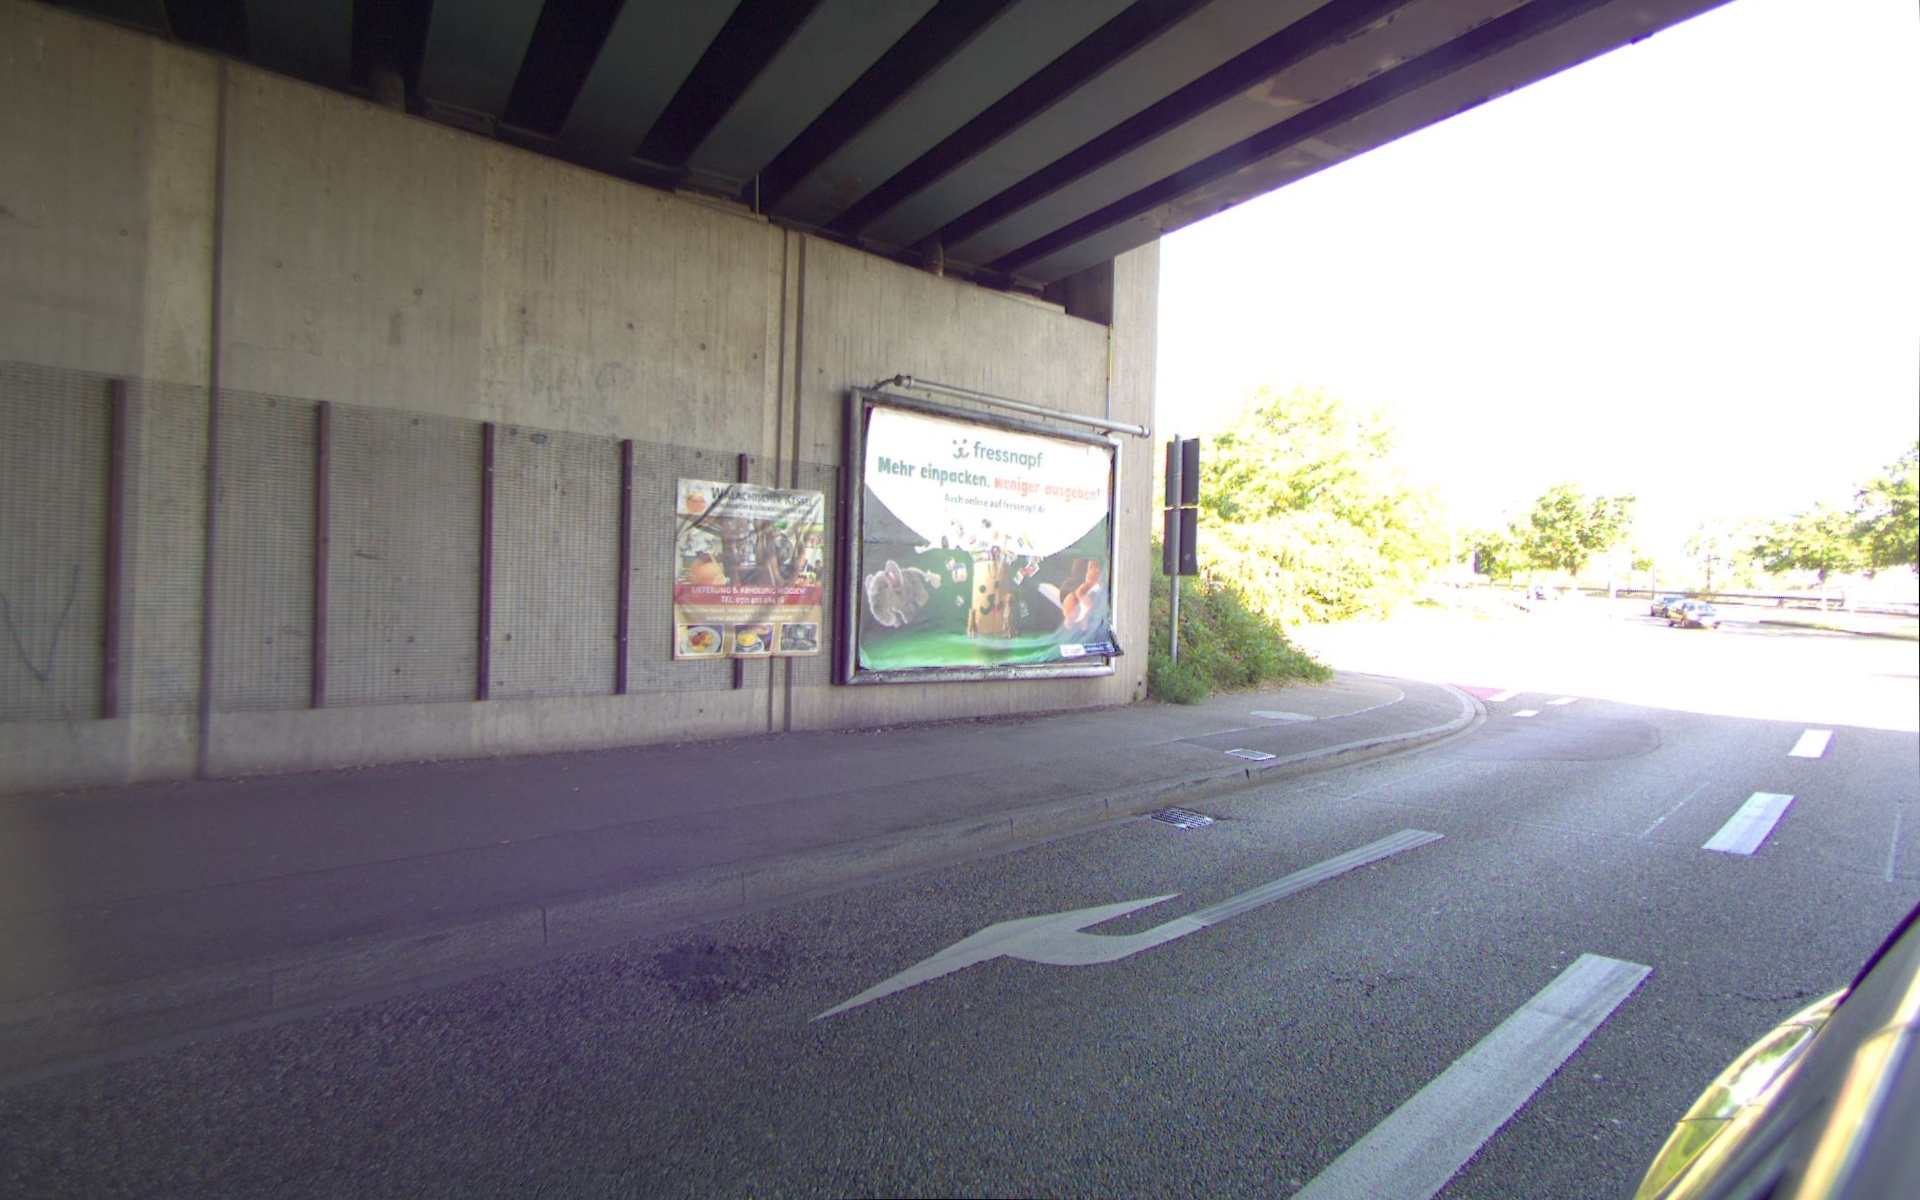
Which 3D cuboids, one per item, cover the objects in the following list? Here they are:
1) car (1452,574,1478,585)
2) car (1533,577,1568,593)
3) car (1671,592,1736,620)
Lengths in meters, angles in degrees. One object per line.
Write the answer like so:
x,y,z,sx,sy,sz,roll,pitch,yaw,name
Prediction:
66.719,-2.774,133.705,1.719,1.297,4.175,3,2,8,car
56.745,-1.404,97.339,1.830,1.498,4.210,0,1,15,car
40.565,0.335,55.328,1.717,1.438,4.289,2,0,20,car
